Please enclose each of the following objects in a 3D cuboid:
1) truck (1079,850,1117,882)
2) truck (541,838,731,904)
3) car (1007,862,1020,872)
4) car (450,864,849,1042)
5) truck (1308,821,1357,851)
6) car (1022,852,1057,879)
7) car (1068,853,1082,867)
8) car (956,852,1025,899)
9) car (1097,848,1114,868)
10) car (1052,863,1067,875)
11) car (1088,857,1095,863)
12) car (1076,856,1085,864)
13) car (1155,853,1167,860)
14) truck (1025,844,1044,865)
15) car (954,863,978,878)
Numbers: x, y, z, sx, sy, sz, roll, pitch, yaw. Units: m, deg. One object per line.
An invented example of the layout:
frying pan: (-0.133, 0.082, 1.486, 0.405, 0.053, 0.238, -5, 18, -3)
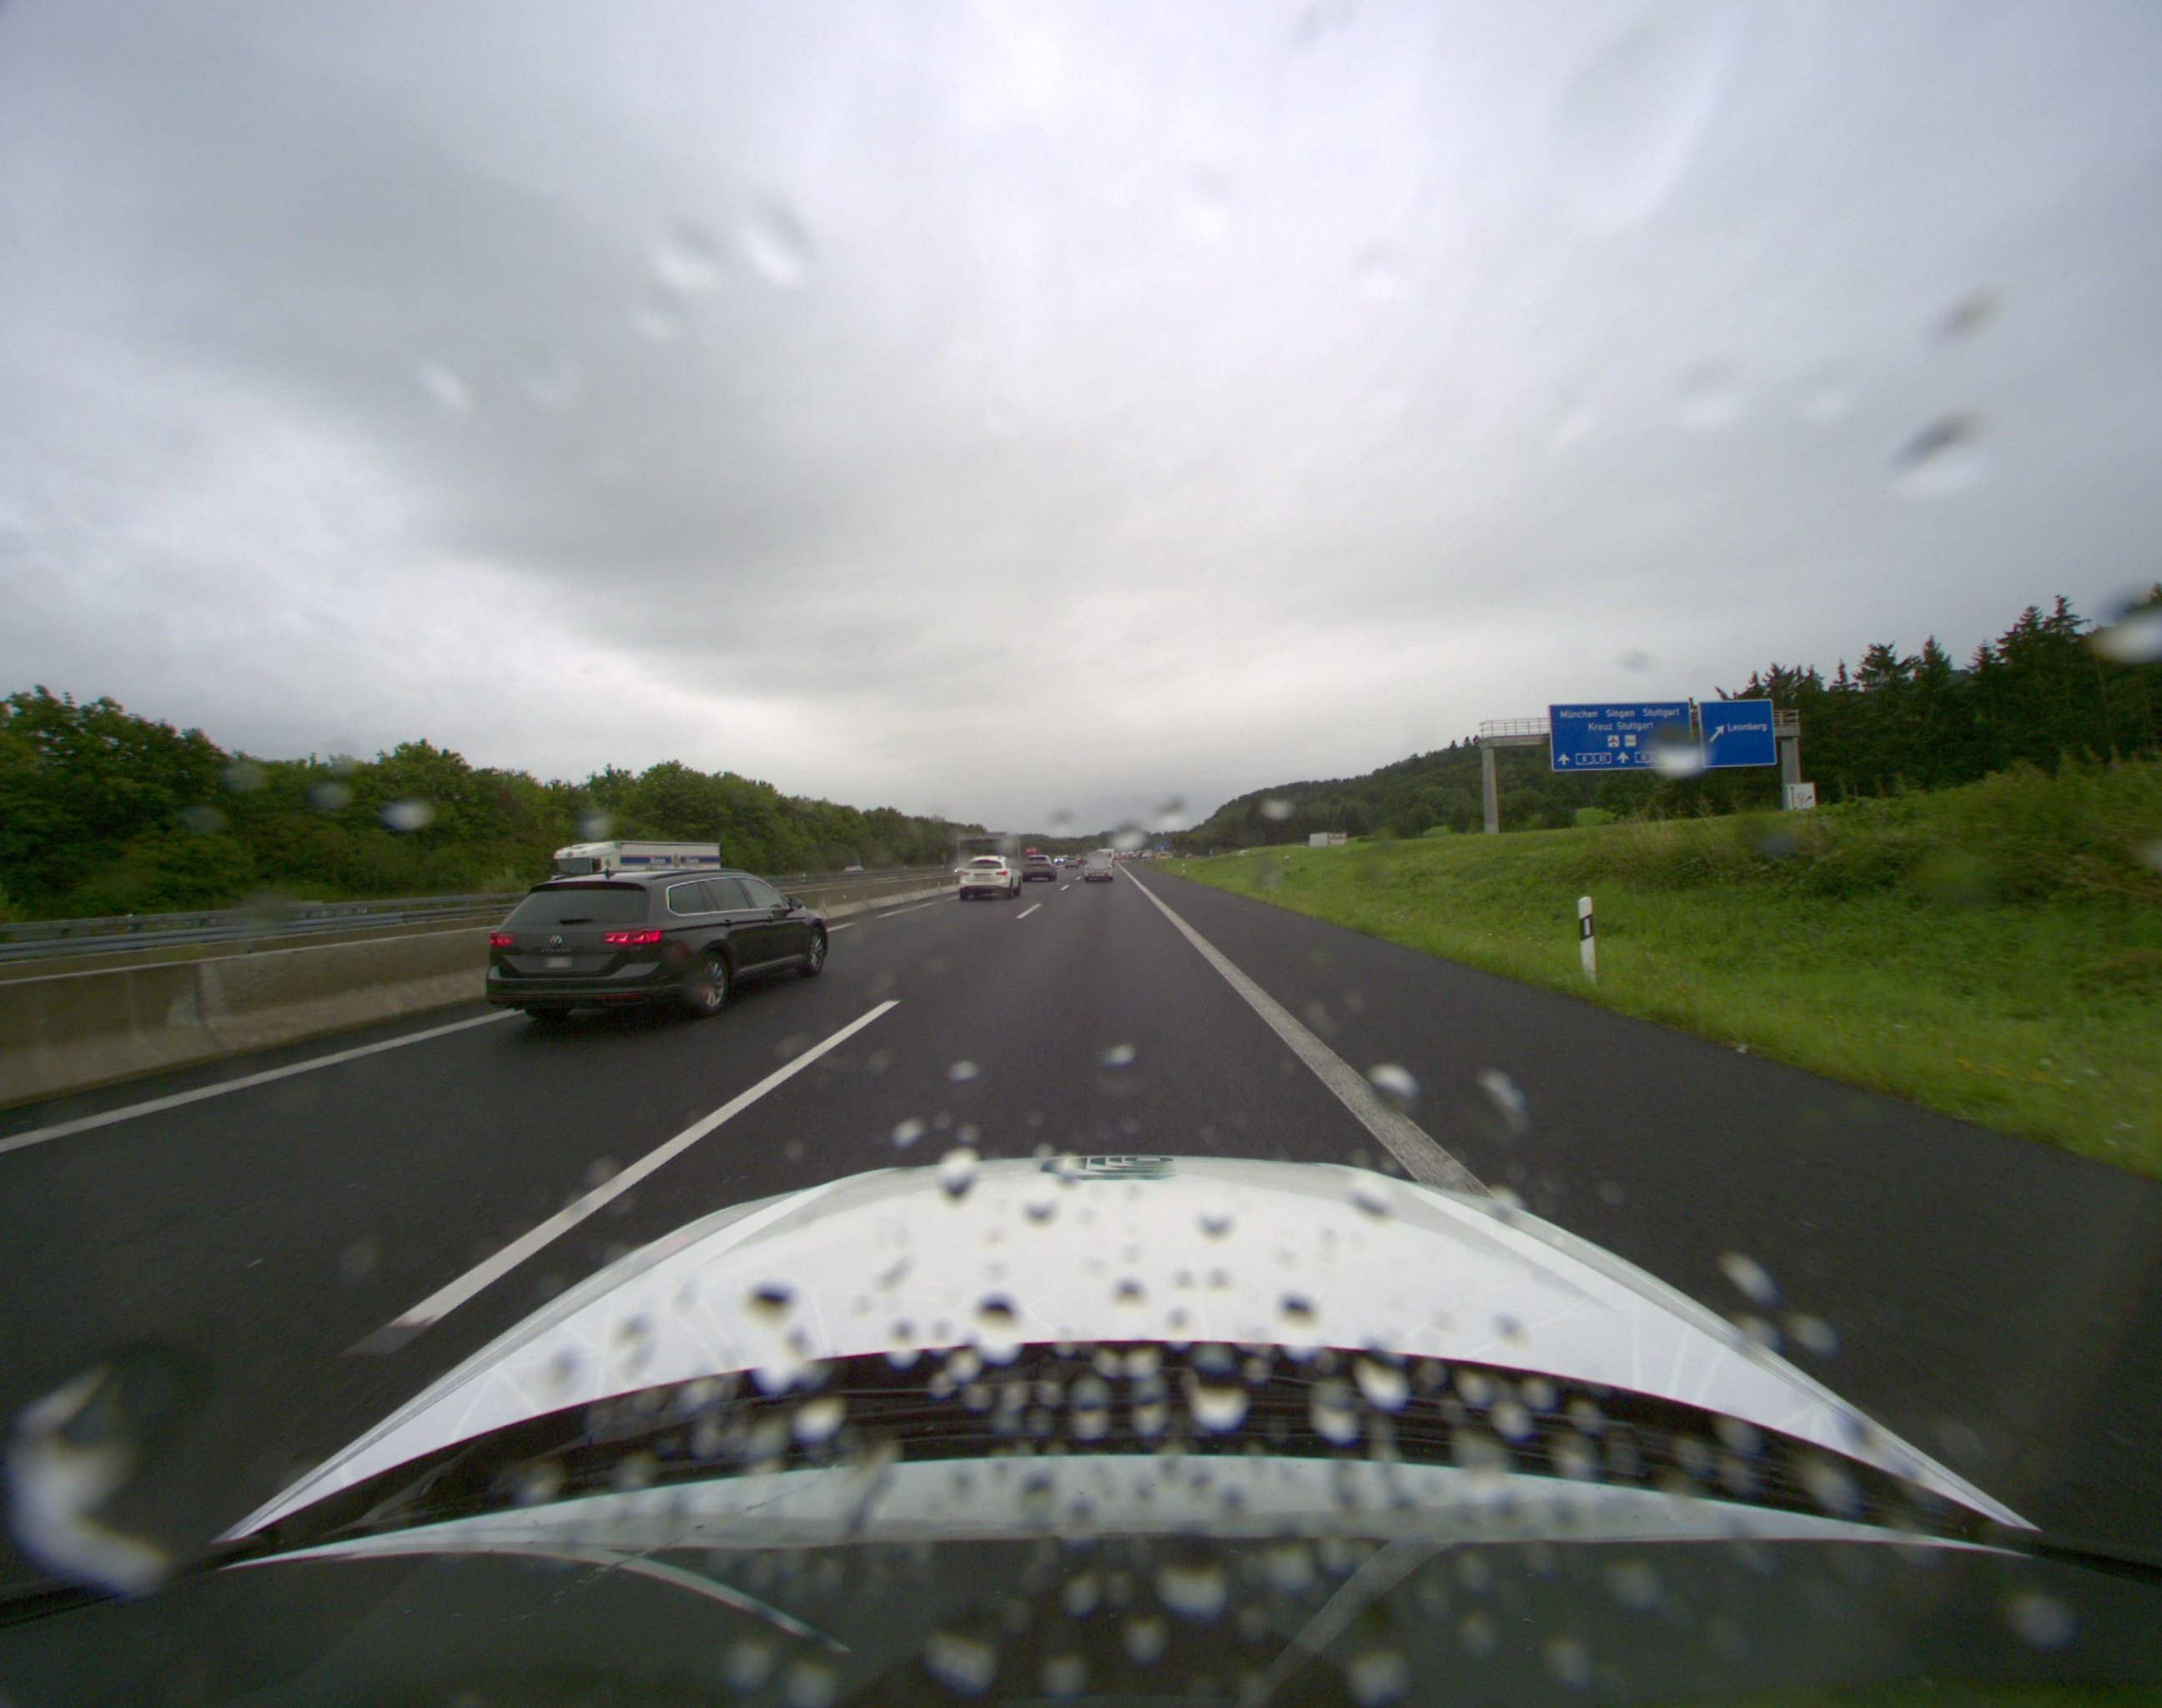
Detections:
truck: (1.082, 0.719, 51.930, 2.234, 1.839, 6.586, -1, 0, 1)
truck: (-30.203, 1.001, 57.092, 3.165, 3.808, 17.144, -2, 0, 2)
car: (-11.350, 2.117, 136.778, 1.718, 1.552, 4.583, -1, 0, 1)
car: (-4.372, 0.872, 9.336, 1.780, 1.459, 4.806, -1, 0, 3)
truck: (33.121, -2.303, 107.549, 3.814, 3.659, 8.267, 0, 0, -1)
car: (-2.714, 0.721, 54.364, 1.968, 1.703, 4.804, -1, 0, 2)
car: (-0.788, 0.819, 113.276, 1.732, 1.794, 4.002, -1, 0, 2)
car: (-3.461, 0.799, 31.960, 2.041, 1.670, 4.542, -1, 0, 1)
car: (3.524, 0.528, 117.015, 2.323, 2.725, 6.542, -1, 0, 2)
car: (-2.999, 2.100, 115.890, 1.812, 1.662, 4.019, -2, 0, 2)
car: (2.517, 1.522, 200.384, 1.639, 1.574, 4.002, 0, 0, 2)
car: (-0.039, 1.163, 159.222, 1.639, 1.574, 4.002, 0, 0, 2)
car: (17.864, 0.570, 181.860, 1.989, 1.552, 3.995, 0, 0, -3)
truck: (-10.428, 0.119, 183.144, 3.387, 4.733, 10.488, -1, 0, 1)
car: (-13.262, 1.911, 94.090, 1.986, 1.662, 4.314, -2, 0, 1)
